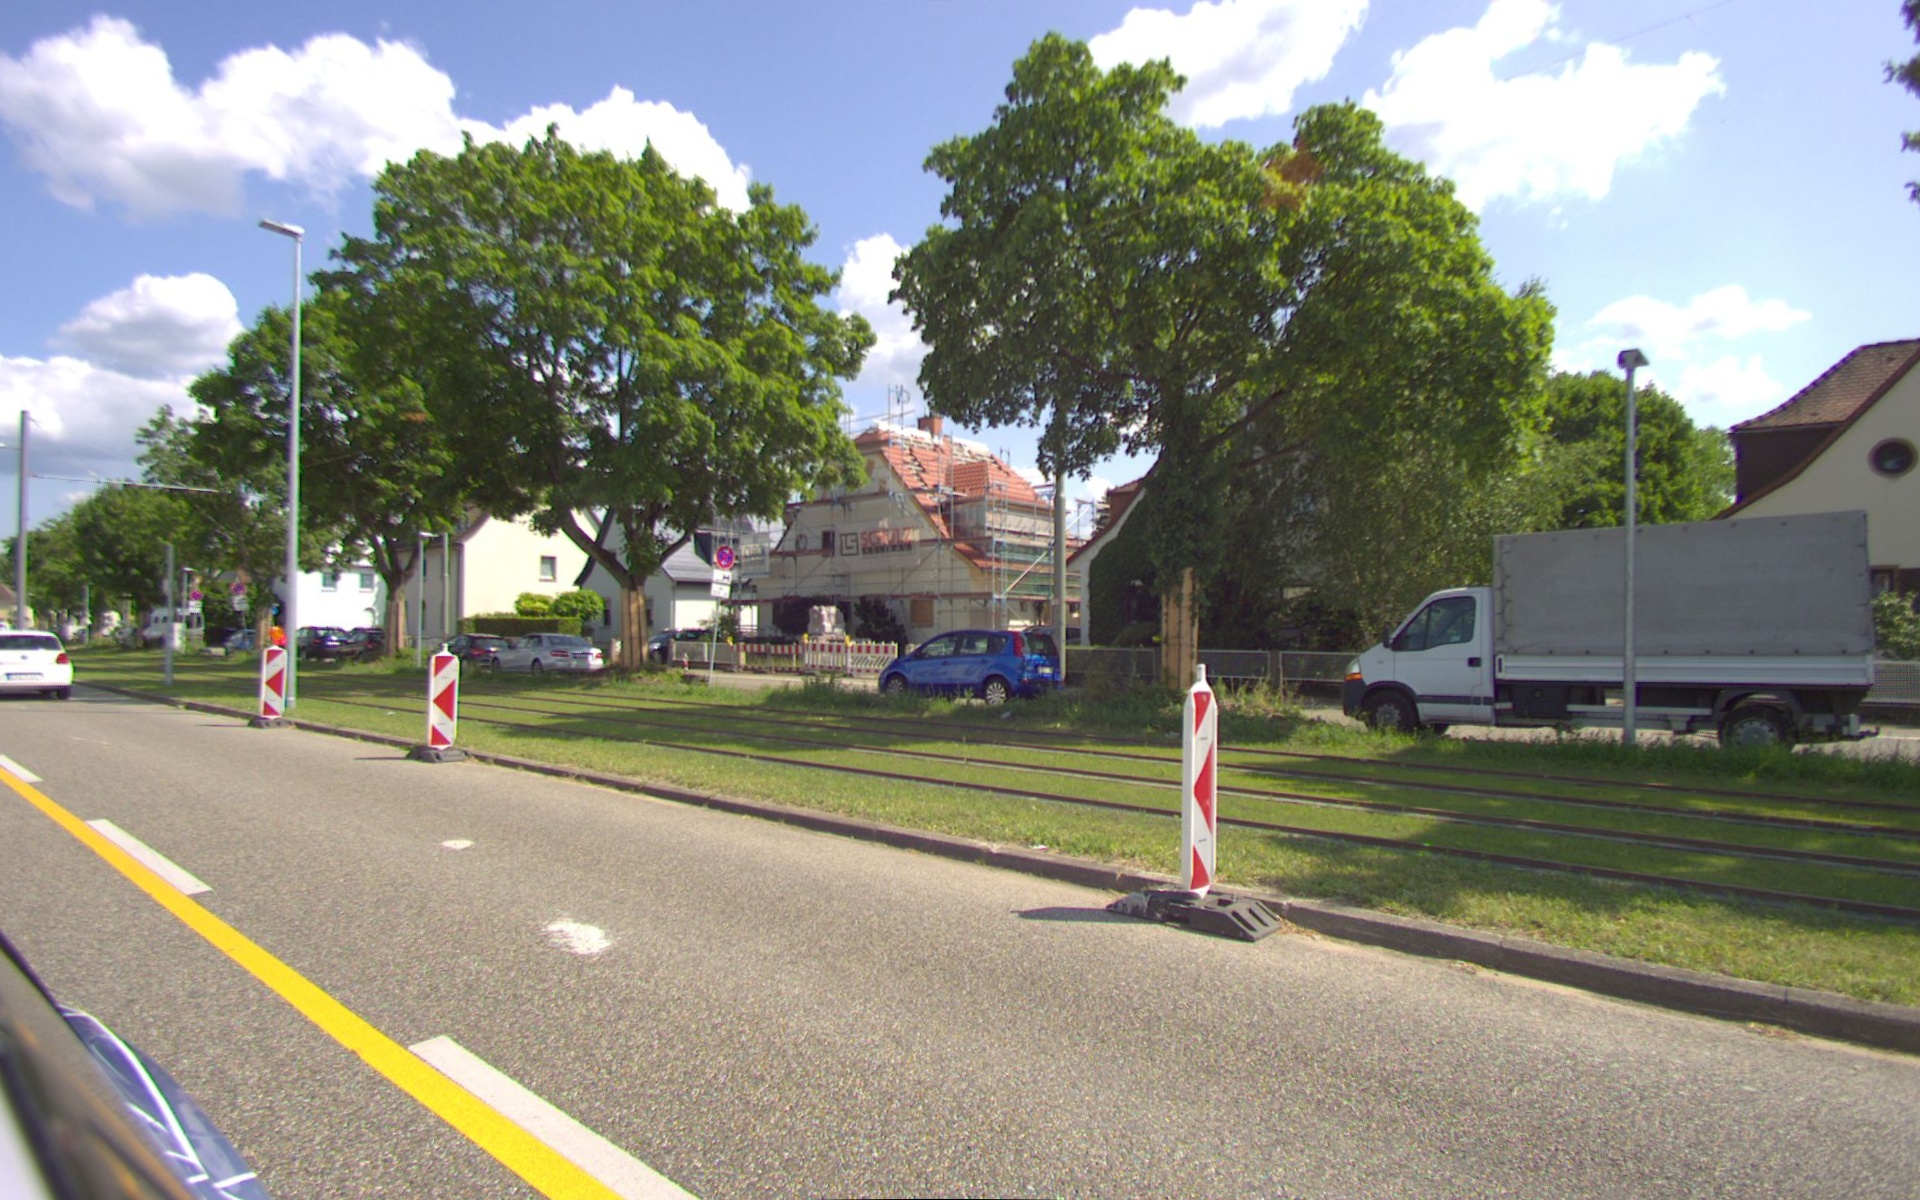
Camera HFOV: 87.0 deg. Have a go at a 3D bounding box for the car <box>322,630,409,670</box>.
[{"bbox_3d":[-25.175,2.079,42.825,4.603,1.623,1.733,-2,-3,40],"label":"car"}]

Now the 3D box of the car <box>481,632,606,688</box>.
[{"bbox_3d":[-13.165,1.835,31.858,4.603,1.623,1.733,-2,-3,40],"label":"car"}]

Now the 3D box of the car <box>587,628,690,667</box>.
[{"bbox_3d":[-14.074,2.053,44.505,1.756,1.623,3.995,-2,-3,41],"label":"car"}]

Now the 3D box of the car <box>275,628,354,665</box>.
[{"bbox_3d":[-29.594,2.104,46.328,4.603,1.623,1.733,-2,-3,40],"label":"car"}]

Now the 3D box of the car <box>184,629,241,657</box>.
[{"bbox_3d":[-44.637,2.560,60.402,4.603,1.623,1.733,-2,-3,40],"label":"car"}]

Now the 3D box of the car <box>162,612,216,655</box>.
[{"bbox_3d":[-48.844,2.114,64.111,4.603,2.636,1.733,-2,-3,40],"label":"car"}]

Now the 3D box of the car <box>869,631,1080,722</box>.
[{"bbox_3d":[0.223,1.447,20.187,4.047,1.623,1.733,-2,-3,40],"label":"car"}]

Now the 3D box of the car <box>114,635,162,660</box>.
[{"bbox_3d":[-57.015,3.275,70.147,4.603,1.623,1.733,-2,-3,40],"label":"car"}]

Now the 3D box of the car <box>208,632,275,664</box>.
[{"bbox_3d":[-37.636,2.475,52.977,4.603,1.623,1.733,-2,-3,40],"label":"car"}]

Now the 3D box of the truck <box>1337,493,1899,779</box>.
[{"bbox_3d":[8.283,0.468,13.353,5.871,3.010,1.982,-2,-3,41],"label":"truck"}]

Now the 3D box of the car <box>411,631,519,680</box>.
[{"bbox_3d":[-17.606,1.920,35.929,4.603,1.623,1.733,-2,-3,40],"label":"car"}]

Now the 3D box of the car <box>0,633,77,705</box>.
[{"bbox_3d":[-20.556,1.429,21.819,4.260,1.424,1.697,-2,-3,41],"label":"car"}]
